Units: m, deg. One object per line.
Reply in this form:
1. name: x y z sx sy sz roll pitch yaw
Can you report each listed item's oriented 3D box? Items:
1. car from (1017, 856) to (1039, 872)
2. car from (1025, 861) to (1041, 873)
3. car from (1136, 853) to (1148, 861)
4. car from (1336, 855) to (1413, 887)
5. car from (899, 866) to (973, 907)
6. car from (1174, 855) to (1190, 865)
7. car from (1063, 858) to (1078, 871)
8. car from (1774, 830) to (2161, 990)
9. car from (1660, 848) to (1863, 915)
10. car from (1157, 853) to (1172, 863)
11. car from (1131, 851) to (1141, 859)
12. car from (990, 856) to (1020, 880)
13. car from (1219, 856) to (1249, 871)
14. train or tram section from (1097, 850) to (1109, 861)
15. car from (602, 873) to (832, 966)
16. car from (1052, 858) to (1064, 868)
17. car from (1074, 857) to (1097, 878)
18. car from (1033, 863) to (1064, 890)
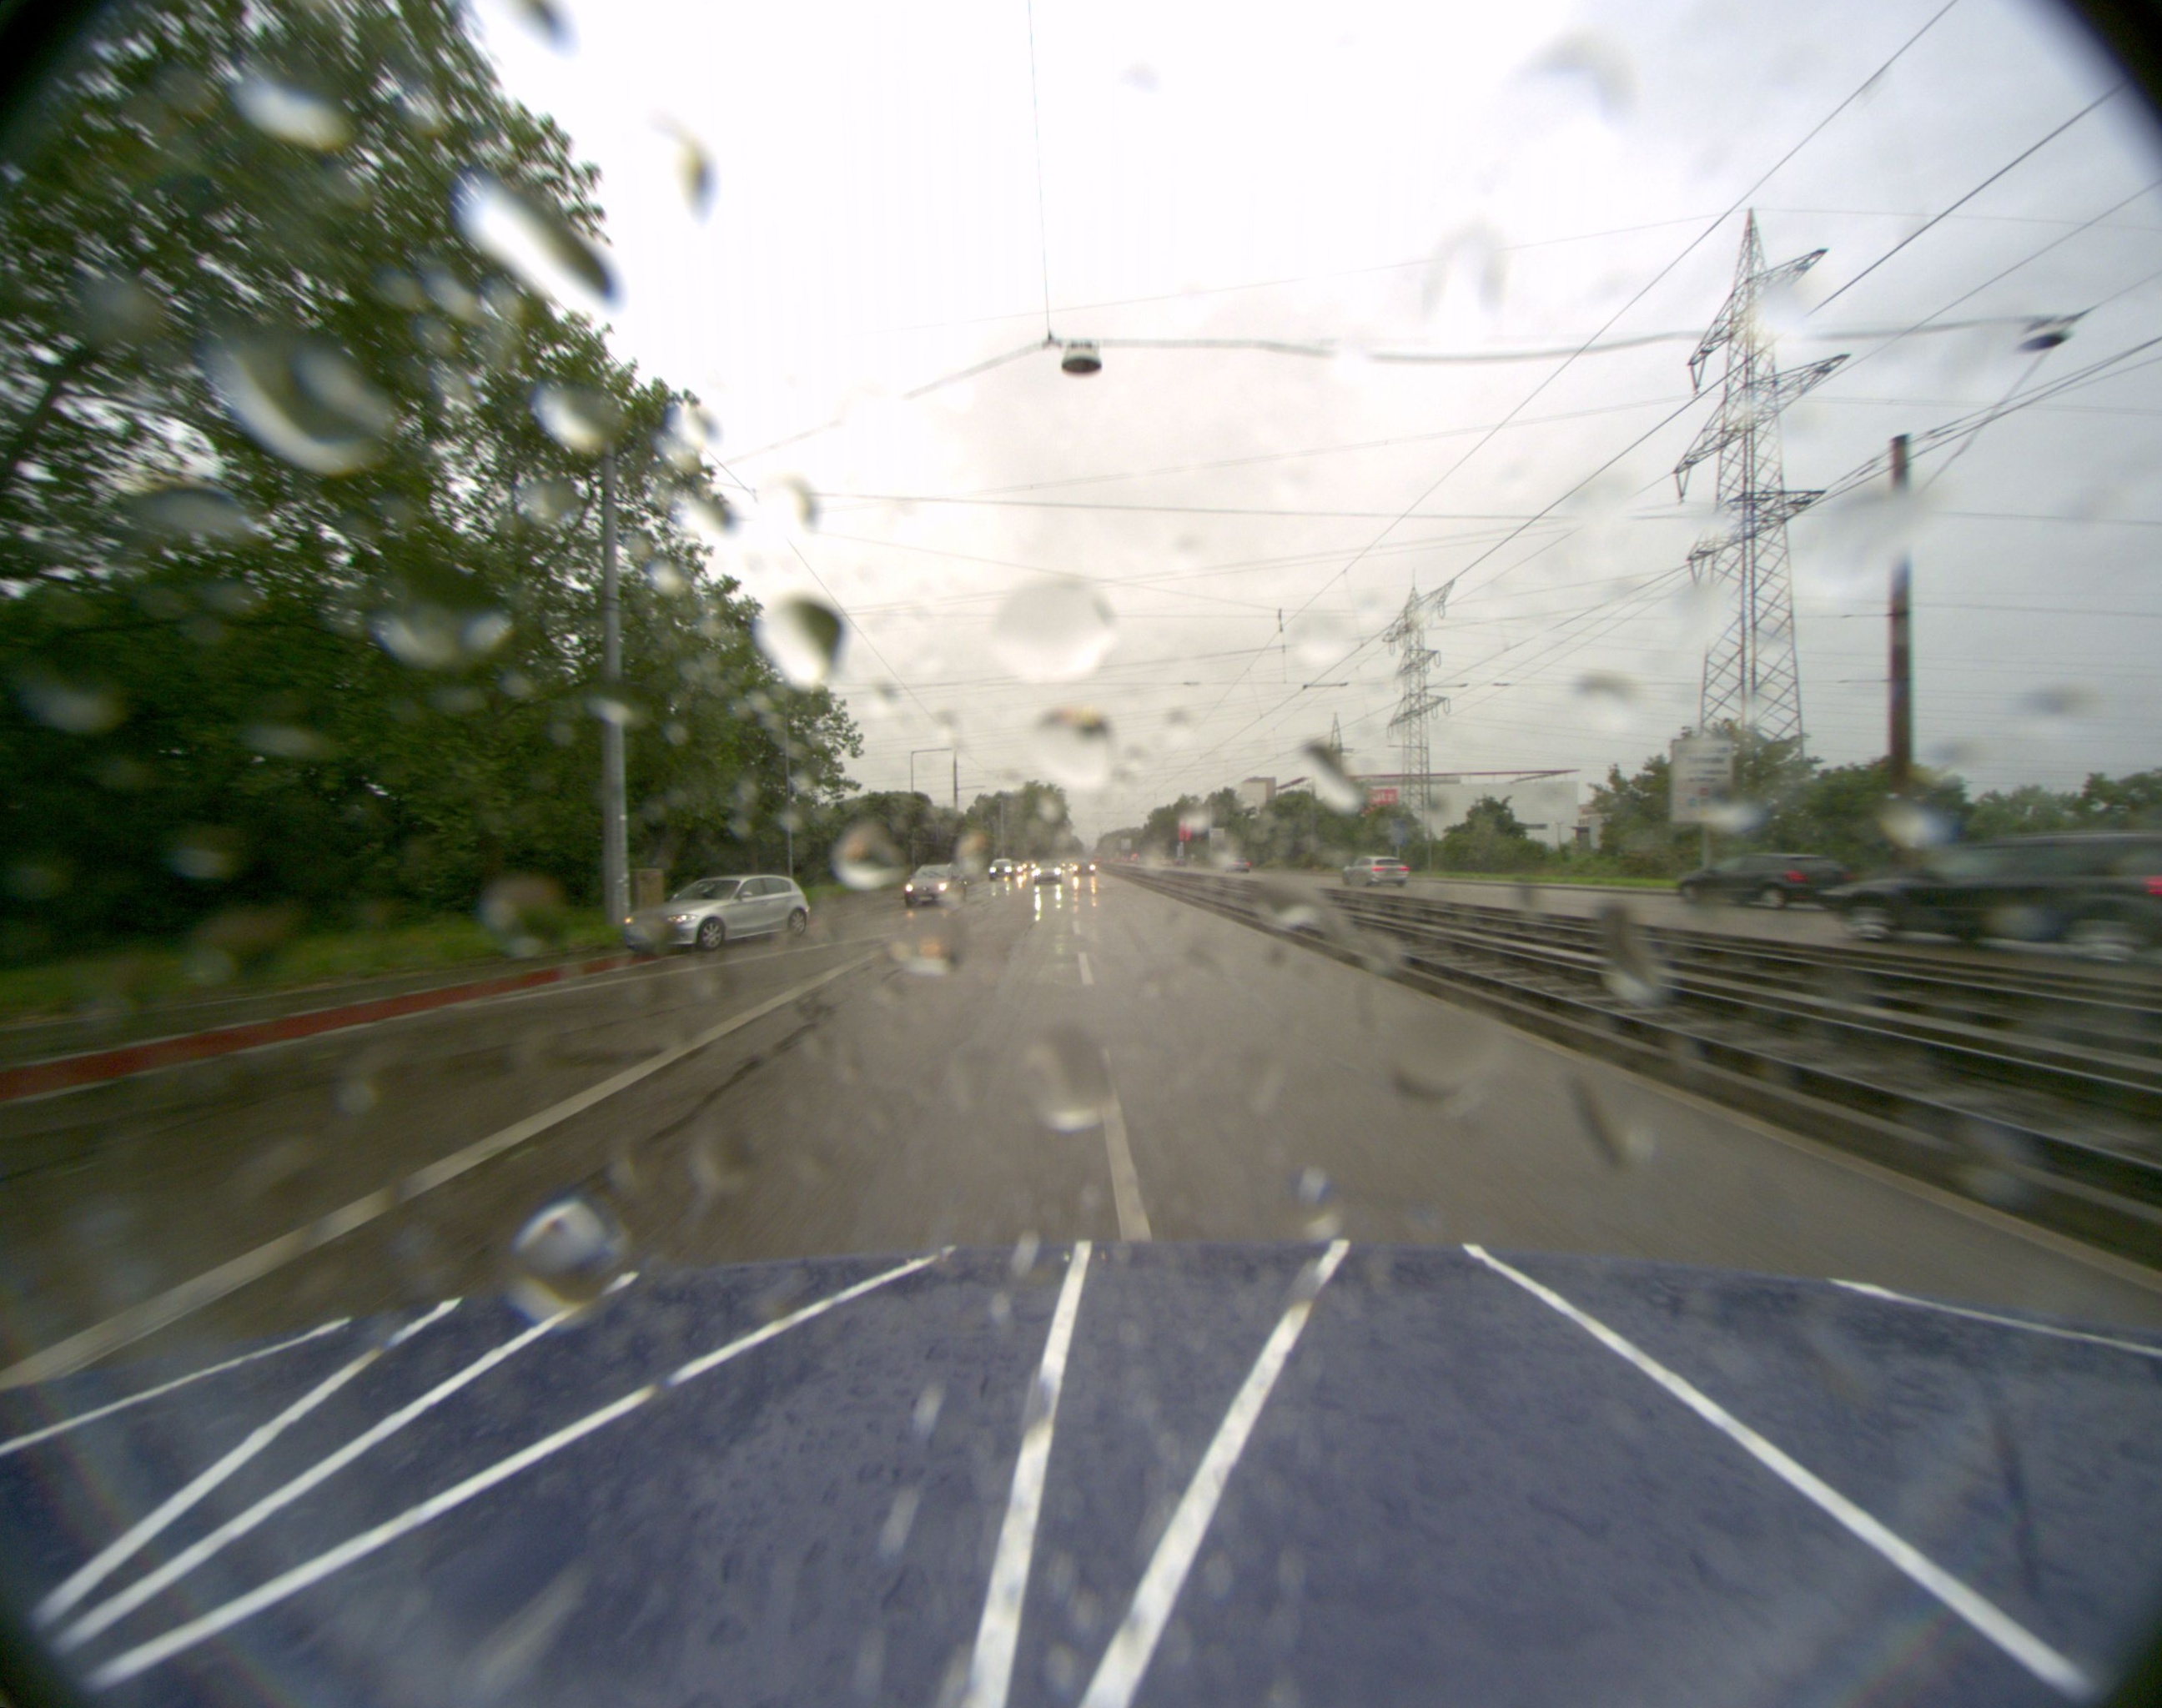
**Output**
1. car: -5.116 0.966 73.538 1.784 1.419 4.000 -2 0 0
2. car: -6.177 1.684 98.463 1.784 1.419 4.000 -2 0 0
3. car: 12.542 0.635 155.820 1.830 1.625 5.136 -3 0 -1
4. car: 13.726 0.774 35.815 1.746 1.346 4.545 -3 0 -1
5. car: -5.395 1.168 28.776 1.892 1.349 4.277 -3 0 0
6. car: 15.692 0.940 118.512 1.998 1.455 5.252 1 0 2
7. car: -1.376 1.390 100.940 1.816 1.692 4.000 -2 0 0
8. car: 13.154 0.634 10.773 1.892 1.799 5.003 -3 0 -3
9. car: 17.869 0.676 20.236 1.693 1.543 4.000 -3 0 -2
10. car: 14.858 0.718 135.268 1.847 1.564 5.066 -3 0 -1
11. car: 15.453 0.345 214.061 2.156 2.284 5.982 2 -1 -1
12. car: -5.928 1.069 59.842 1.797 1.692 4.763 -3 0 0
13. car: 14.807 0.914 73.983 1.762 1.354 5.071 -3 0 -1
14. train or tram section: 7.793 0.580 269.171 2.893 3.683 19.527 -3 0 -1
15. car: -7.269 1.237 15.819 1.629 1.494 4.611 -3 0 15
16. car: -3.763 1.437 125.000 1.846 1.572 3.837 -3 0 -1
17. car: 0.378 1.181 65.443 1.816 1.692 4.000 -2 0 0
18. car: -2.007 1.391 48.126 1.808 1.521 3.645 -3 0 -2
